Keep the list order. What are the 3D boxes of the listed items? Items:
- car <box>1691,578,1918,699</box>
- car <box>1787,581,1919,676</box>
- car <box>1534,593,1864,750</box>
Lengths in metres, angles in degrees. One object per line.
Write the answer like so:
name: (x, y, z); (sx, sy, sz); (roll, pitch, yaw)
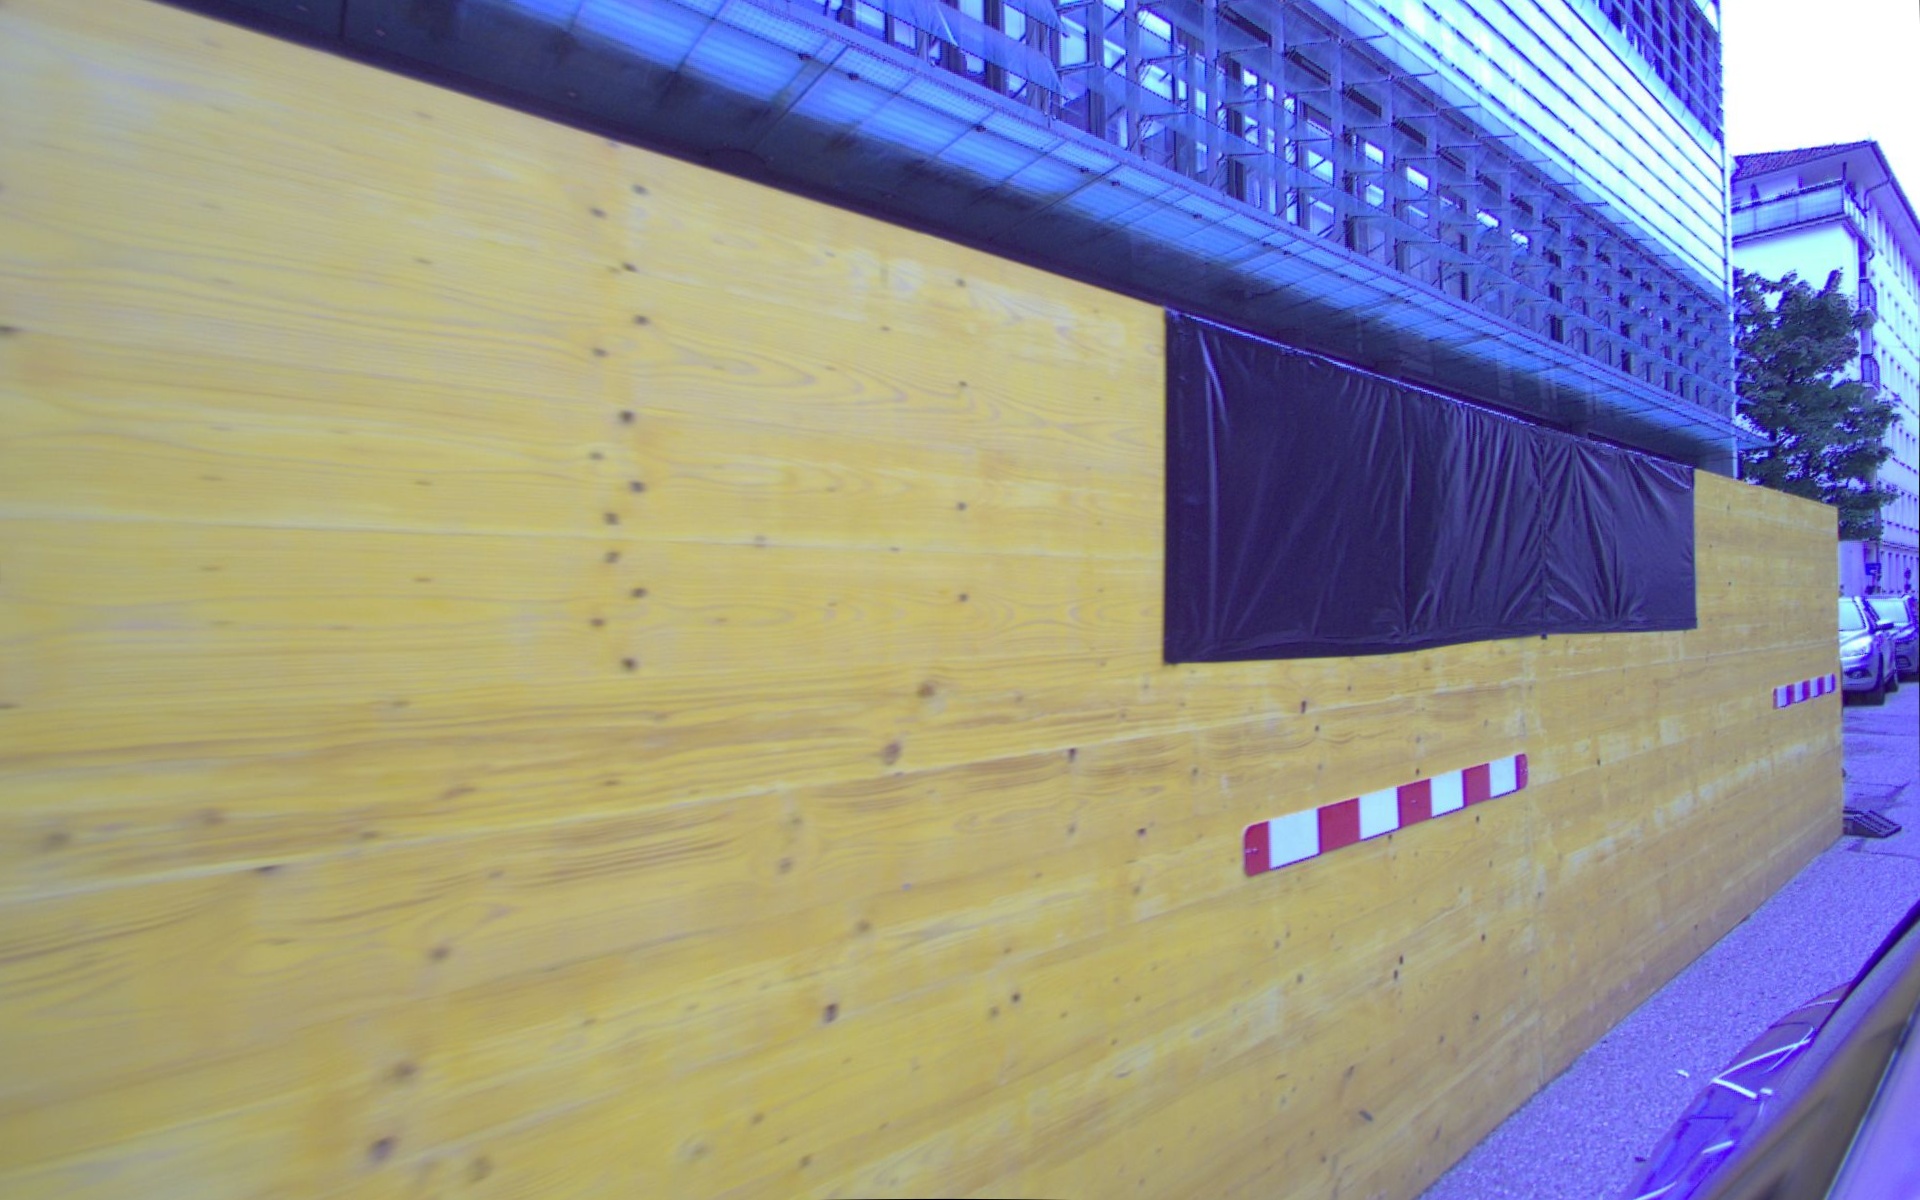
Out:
car: (12.406, 0.506, 14.780); (4.207, 1.506, 1.995); (-1, -3, -43)
car: (16.339, 0.448, 18.019); (4.205, 1.504, 1.874); (-1, -1, -42)
car: (8.431, 0.656, 11.383); (4.577, 1.392, 1.996); (-1, -1, -41)
